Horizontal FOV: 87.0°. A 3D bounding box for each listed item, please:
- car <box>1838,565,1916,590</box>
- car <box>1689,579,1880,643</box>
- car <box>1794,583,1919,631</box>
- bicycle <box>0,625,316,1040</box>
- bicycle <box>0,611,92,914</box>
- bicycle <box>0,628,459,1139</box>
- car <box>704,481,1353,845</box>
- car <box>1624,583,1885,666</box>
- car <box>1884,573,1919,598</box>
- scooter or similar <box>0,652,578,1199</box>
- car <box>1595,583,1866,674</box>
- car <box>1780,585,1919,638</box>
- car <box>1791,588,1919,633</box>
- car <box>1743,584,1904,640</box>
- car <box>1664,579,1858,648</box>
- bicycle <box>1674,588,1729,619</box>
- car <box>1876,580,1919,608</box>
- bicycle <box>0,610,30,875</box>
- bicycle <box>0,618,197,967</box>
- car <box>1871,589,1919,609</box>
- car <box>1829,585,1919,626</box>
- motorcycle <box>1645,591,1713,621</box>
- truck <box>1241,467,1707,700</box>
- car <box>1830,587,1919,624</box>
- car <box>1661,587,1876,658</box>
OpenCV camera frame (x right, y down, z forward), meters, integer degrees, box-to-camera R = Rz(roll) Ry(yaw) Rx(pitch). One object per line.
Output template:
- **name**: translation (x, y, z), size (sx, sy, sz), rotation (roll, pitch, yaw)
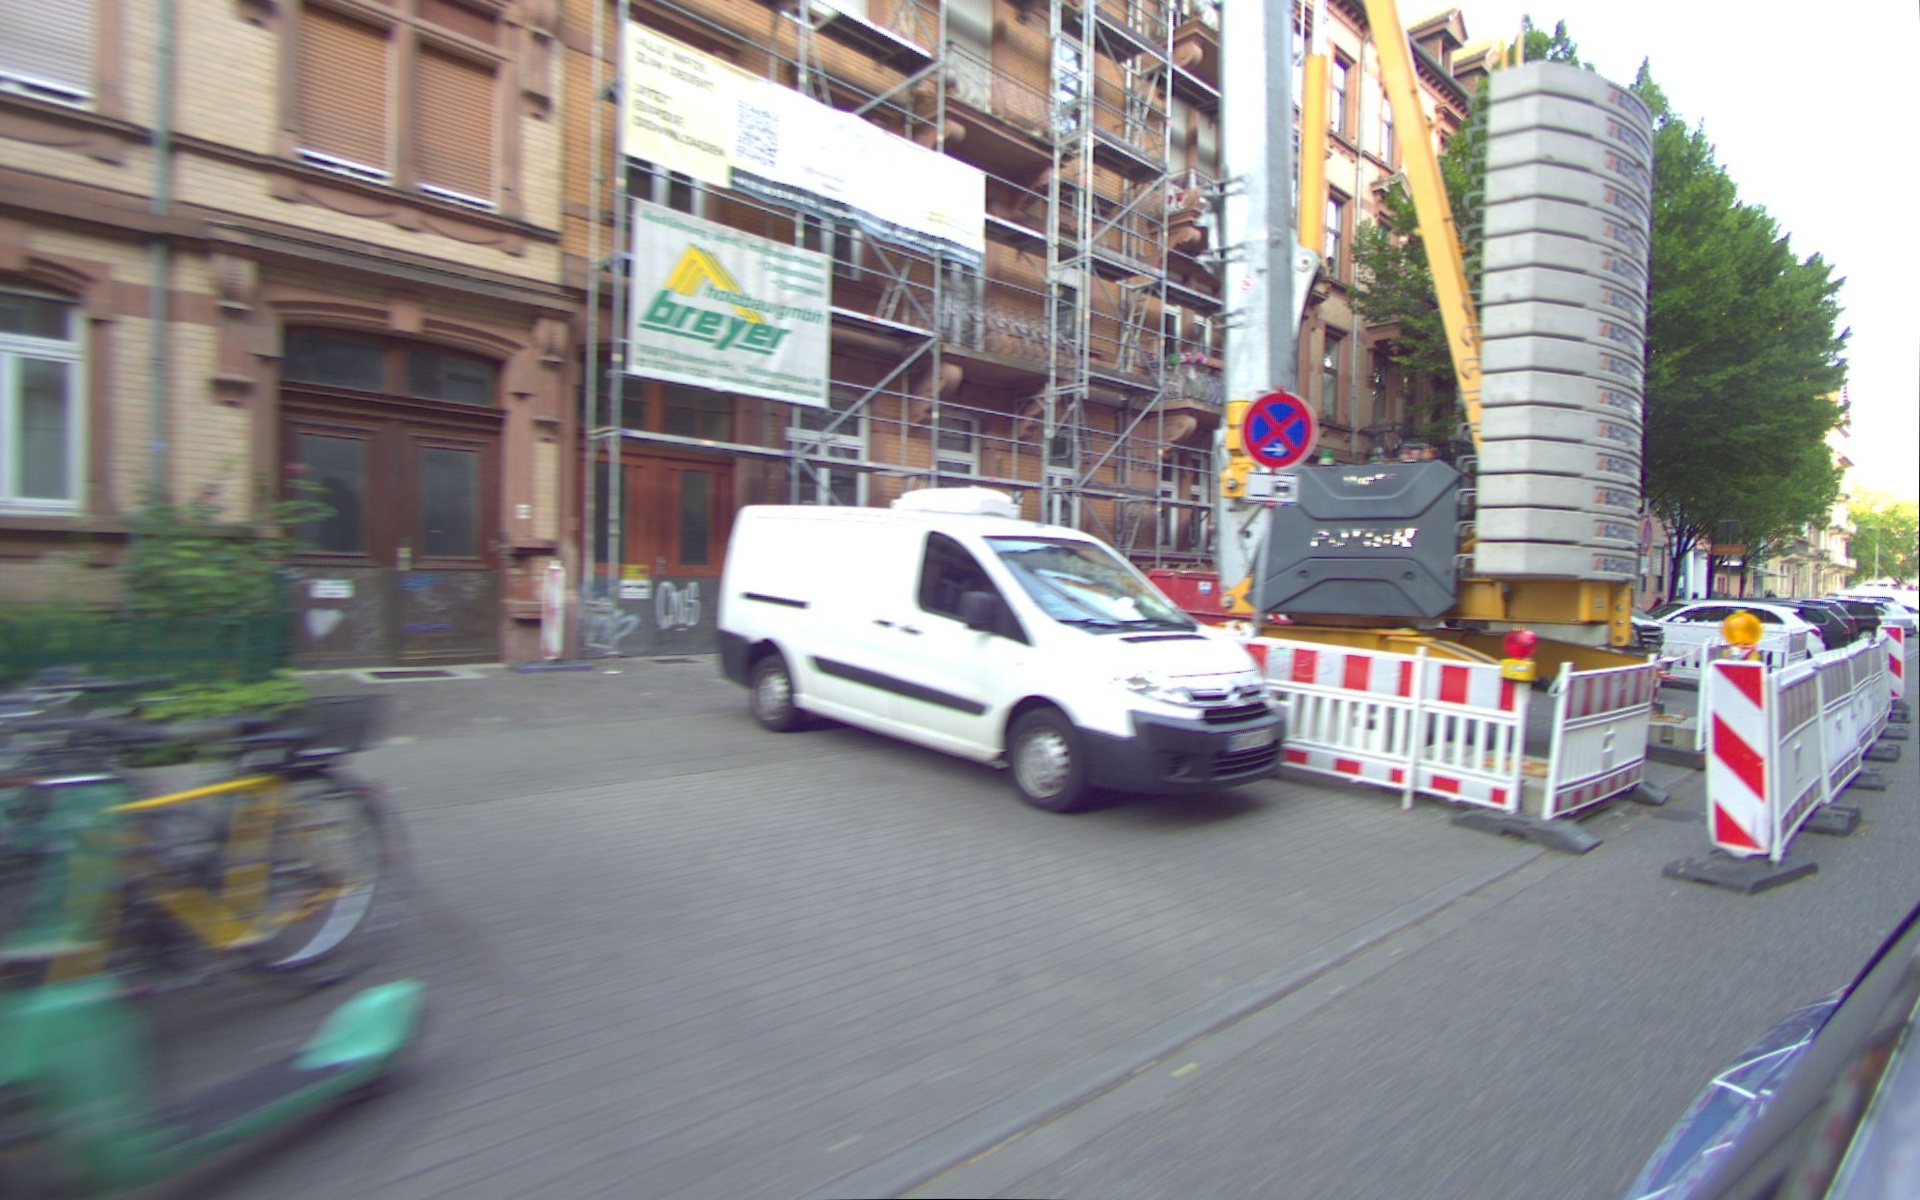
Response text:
- **car**: translation (67.111, -1.668, 74.109), size (3.786, 1.537, 1.668), rotation (3, 3, 19)
- **car**: translation (23.283, 0.276, 28.722), size (3.746, 1.536, 1.643), rotation (3, 2, 15)
- **car**: translation (37.259, 0.256, 41.893), size (3.788, 1.668, 1.667), rotation (4, 3, 20)
- **bicycle**: translation (-3.000, 0.705, 3.182), size (0.489, 1.150, 1.808), rotation (3, 1, 12)
- **bicycle**: translation (-4.082, 0.648, 3.412), size (0.489, 1.150, 1.808), rotation (3, 1, 12)
- **bicycle**: translation (-2.394, 0.711, 3.038), size (0.489, 1.150, 1.806), rotation (3, 1, 15)
- **car**: translation (0.139, 0.190, 8.016), size (1.867, 1.979, 5.181), rotation (2, 3, -43)
- **car**: translation (17.610, 0.498, 22.651), size (4.105, 1.506, 1.826), rotation (3, 2, 11)
- **car**: translation (91.993, -1.386, 97.411), size (4.129, 2.286, 1.673), rotation (3, 3, 12)
- **scooter or similar**: translation (-1.724, 0.776, 2.438), size (0.649, 1.164, 1.473), rotation (3, 2, 23)
- **car**: translation (15.510, 0.525, 20.598), size (3.936, 1.506, 1.678), rotation (3, 2, 14)
- **car**: translation (32.009, 0.394, 36.117), size (3.784, 1.584, 1.669), rotation (3, 3, 18)
- **car**: translation (35.474, 0.394, 39.871), size (3.784, 1.447, 1.669), rotation (3, 3, 18)
- **car**: translation (29.588, 0.385, 34.826), size (3.797, 1.584, 1.664), rotation (4, 4, 26)
- **car**: translation (21.032, 0.315, 26.729), size (3.587, 1.536, 1.615), rotation (3, 2, 20)
- **bicycle**: translation (31.032, 0.126, 42.357), size (1.763, 1.113, 0.538), rotation (7, 5, 40)
- **car**: translation (85.993, -0.543, 91.669), size (4.123, 2.320, 1.675), rotation (3, 3, 8)
- **bicycle**: translation (-4.677, 0.626, 3.731), size (0.490, 1.150, 1.803), rotation (3, 1, 19)
- **bicycle**: translation (-3.557, 0.678, 3.296), size (0.489, 1.150, 1.808), rotation (3, 1, 12)
- **car**: translation (83.589, -0.108, 89.740), size (3.776, 1.537, 1.673), rotation (3, 3, 12)
- **car**: translation (40.090, 0.269, 43.405), size (3.780, 1.537, 1.671), rotation (3, 3, 15)
- **motorcycle**: translation (27.106, 0.207, 38.202), size (0.578, 0.937, 1.992), rotation (1, 4, -29)
- **truck**: translation (8.166, -0.245, 16.873), size (2.479, 3.115, 6.494), rotation (-1, 1, -39)
- **car**: translation (45.113, 0.281, 49.281), size (3.806, 1.537, 1.659), rotation (4, 4, 32)
- **car**: translation (19.643, 0.509, 24.777), size (3.581, 1.438, 1.823), rotation (3, 2, 16)
